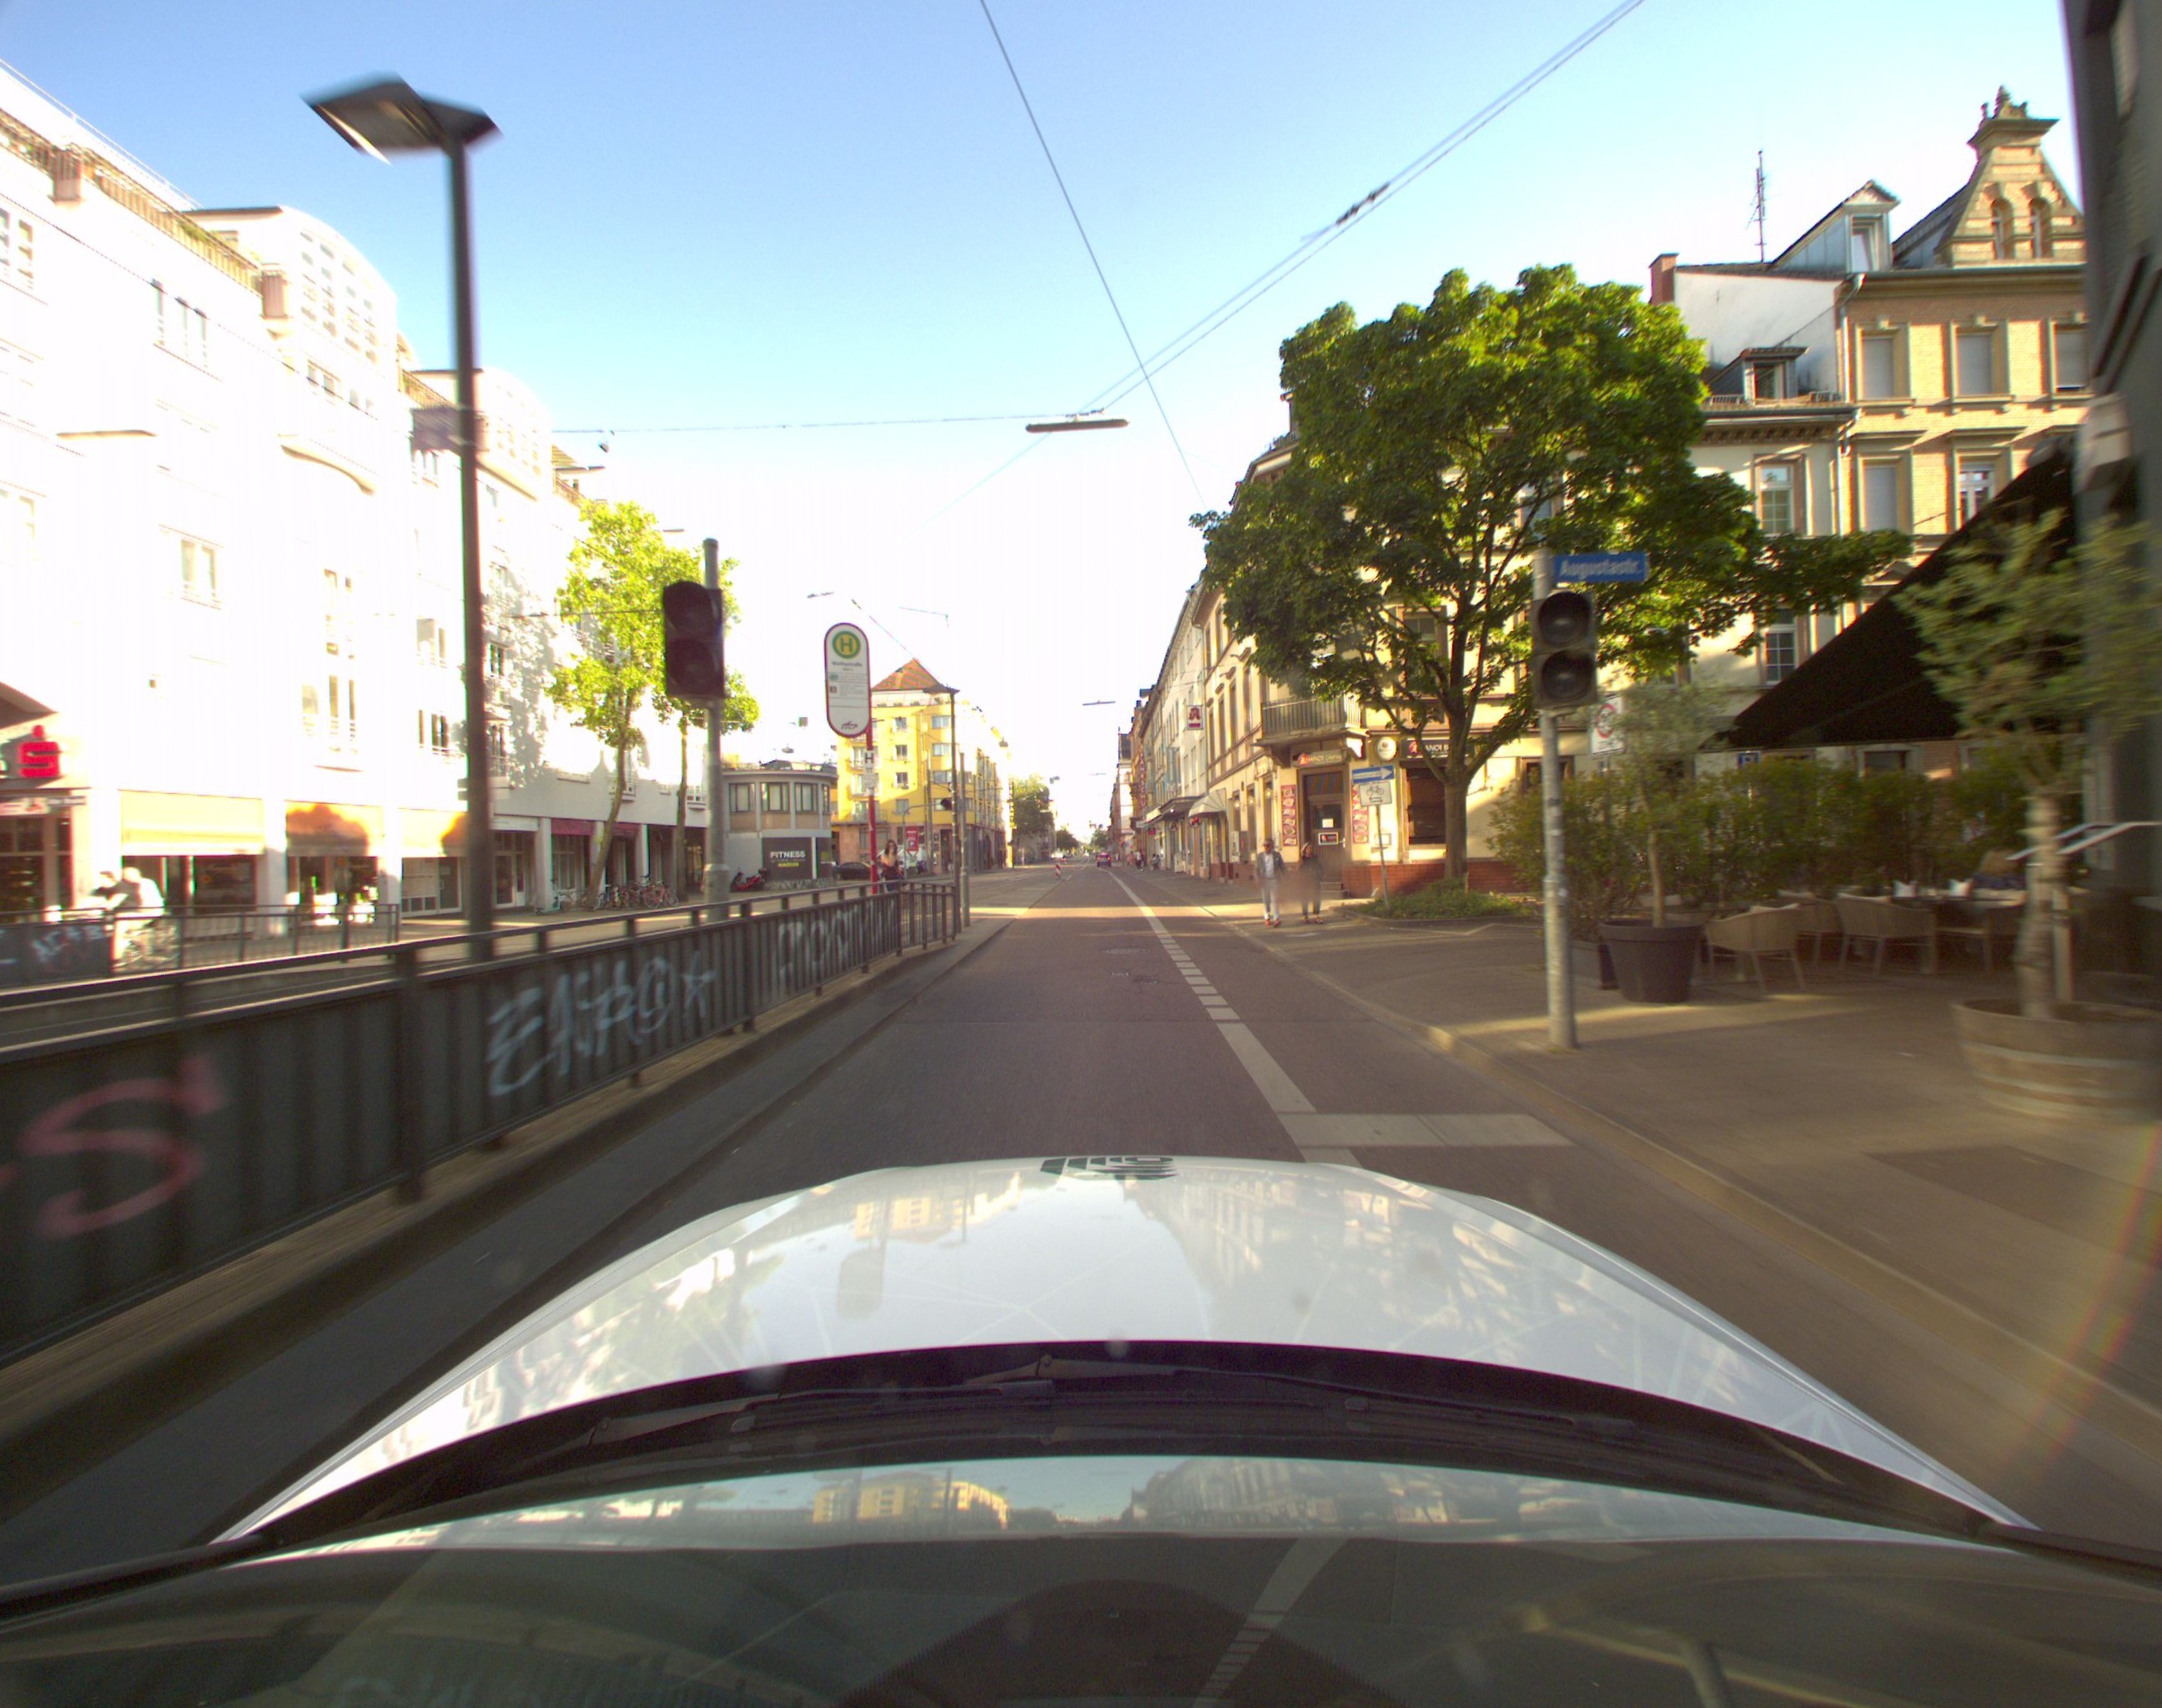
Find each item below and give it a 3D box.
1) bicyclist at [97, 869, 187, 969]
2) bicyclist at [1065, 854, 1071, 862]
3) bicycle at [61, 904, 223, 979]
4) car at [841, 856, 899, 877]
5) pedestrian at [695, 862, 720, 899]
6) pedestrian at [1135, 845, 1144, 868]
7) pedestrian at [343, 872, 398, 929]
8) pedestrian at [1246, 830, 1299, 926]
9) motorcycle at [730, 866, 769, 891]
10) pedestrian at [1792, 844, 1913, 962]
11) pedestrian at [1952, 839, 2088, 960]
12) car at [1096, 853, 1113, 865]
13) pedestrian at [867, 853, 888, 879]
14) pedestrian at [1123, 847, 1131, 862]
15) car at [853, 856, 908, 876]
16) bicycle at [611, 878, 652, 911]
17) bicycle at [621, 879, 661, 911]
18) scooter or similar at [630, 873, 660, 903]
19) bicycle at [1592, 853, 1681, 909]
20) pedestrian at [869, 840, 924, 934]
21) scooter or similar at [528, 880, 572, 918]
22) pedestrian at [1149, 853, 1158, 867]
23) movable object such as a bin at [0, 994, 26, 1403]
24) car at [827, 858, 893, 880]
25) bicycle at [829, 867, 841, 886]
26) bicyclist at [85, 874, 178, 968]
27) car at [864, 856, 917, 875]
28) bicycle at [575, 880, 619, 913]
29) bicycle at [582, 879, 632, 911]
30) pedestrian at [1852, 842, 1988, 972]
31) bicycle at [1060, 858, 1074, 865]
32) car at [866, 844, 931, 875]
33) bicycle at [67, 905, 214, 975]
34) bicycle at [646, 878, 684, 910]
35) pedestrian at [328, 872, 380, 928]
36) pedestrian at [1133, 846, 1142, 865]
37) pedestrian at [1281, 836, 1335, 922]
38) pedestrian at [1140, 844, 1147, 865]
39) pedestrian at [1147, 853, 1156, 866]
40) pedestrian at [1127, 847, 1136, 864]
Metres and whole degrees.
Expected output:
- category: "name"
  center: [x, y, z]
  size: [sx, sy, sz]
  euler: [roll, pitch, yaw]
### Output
- category: "bicyclist"
  center: [-17.976, 1.222, 15.612]
  size: [0.653, 1.835, 0.845]
  euler: [-2, 0, 1]
- category: "bicyclist"
  center: [-2.082, 0.647, 126.769]
  size: [0.704, 1.220, 0.758]
  euler: [-2, 0, 19]
- category: "bicycle"
  center: [-16.714, 1.520, 14.572]
  size: [0.726, 1.107, 1.801]
  euler: [-2, 0, 2]
- category: "car"
  center: [-16.386, 0.985, 63.466]
  size: [3.972, 1.510, 1.801]
  euler: [-1, 0, 1]
- category: "pedestrian"
  center: [-17.137, 1.207, 37.385]
  size: [1.018, 1.661, 0.914]
  euler: [1, 0, -24]
- category: "pedestrian"
  center: [4.789, 0.210, 66.482]
  size: [0.645, 1.796, 0.562]
  euler: [-2, 0, 5]
- category: "pedestrian"
  center: [-21.476, 1.401, 24.630]
  size: [0.856, 1.661, 0.879]
  euler: [1, 0, -2]
- category: "pedestrian"
  center: [3.726, 0.444, 15.927]
  size: [0.711, 1.774, 0.772]
  euler: [-5, 1, -2]
- category: "motorcycle"
  center: [-17.942, 1.321, 44.100]
  size: [1.791, 1.298, 0.605]
  euler: [1, 0, -5]
- category: "pedestrian"
  center: [8.271, 0.506, 8.757]
  size: [0.646, 1.203, 0.650]
  euler: [-2, 0, 1]
- category: "pedestrian"
  center: [9.843, 0.460, 8.561]
  size: [0.646, 1.203, 0.650]
  euler: [-2, 0, 1]
- category: "car"
  center: [2.920, 0.617, 101.480]
  size: [1.987, 1.449, 4.001]
  euler: [-1, 0, 1]
- category: "pedestrian"
  center: [-14.364, 0.858, 57.495]
  size: [1.159, 1.815, 0.900]
  euler: [-1, 0, -45]
- category: "pedestrian"
  center: [5.684, 0.066, 100.426]
  size: [0.840, 1.918, 0.847]
  euler: [-2, 0, -1]
- category: "car"
  center: [-16.230, 0.979, 66.046]
  size: [3.972, 1.510, 1.801]
  euler: [-1, 0, 1]
- category: "bicycle"
  center: [-17.098, 1.529, 31.015]
  size: [0.496, 1.107, 1.801]
  euler: [1, 1, 2]
- category: "bicycle"
  center: [-16.673, 1.536, 30.899]
  size: [0.496, 1.107, 1.801]
  euler: [1, 1, 2]
- category: "scooter or similar"
  center: [-18.131, 1.403, 33.881]
  size: [0.496, 1.193, 1.272]
  euler: [-2, 0, 2]
- category: "bicycle"
  center: [10.510, 0.507, 15.431]
  size: [1.309, 1.014, 0.461]
  euler: [-2, 1, 20]
- category: "pedestrian"
  center: [-3.421, 0.594, 15.150]
  size: [0.867, 1.714, 0.787]
  euler: [0, 1, -2]
- category: "scooter or similar"
  center: [-18.342, 1.538, 28.168]
  size: [0.495, 1.193, 1.276]
  euler: [1, 1, 13]
- category: "pedestrian"
  center: [5.788, 0.466, 65.371]
  size: [0.687, 1.043, 0.681]
  euler: [-2, 0, 5]
- category: "movable object such as a bin"
  center: [-2.705, 0.812, 1.674]
  size: [0.351, 0.944, 0.530]
  euler: [-2, 0, 0]
- category: "car"
  center: [-16.450, 1.116, 60.762]
  size: [4.303, 1.510, 1.801]
  euler: [-1, 0, 1]
- category: "bicycle"
  center: [-15.223, 1.376, 50.481]
  size: [0.499, 1.107, 1.793]
  euler: [-1, 0, -11]
- category: "bicyclist"
  center: [-16.736, 1.161, 14.369]
  size: [0.726, 1.568, 0.720]
  euler: [-2, 0, 1]
- category: "car"
  center: [-16.044, 0.971, 68.576]
  size: [3.972, 1.510, 1.801]
  euler: [-1, 0, 1]
- category: "bicycle"
  center: [-17.478, 1.536, 29.412]
  size: [0.494, 1.107, 1.280]
  euler: [1, 1, 28]
- category: "bicycle"
  center: [-17.799, 1.517, 30.601]
  size: [0.495, 1.107, 1.807]
  euler: [1, 1, 13]
- category: "pedestrian"
  center: [8.269, 0.501, 8.052]
  size: [0.646, 1.203, 0.650]
  euler: [-2, 0, 1]
- category: "bicycle"
  center: [-2.165, 1.102, 126.807]
  size: [1.918, 1.003, 0.758]
  euler: [-2, 0, 18]
- category: "car"
  center: [-15.936, 0.464, 71.156]
  size: [5.087, 2.575, 2.129]
  euler: [-1, 0, 1]
- category: "bicycle"
  center: [-17.959, 1.618, 15.623]
  size: [0.653, 1.107, 1.801]
  euler: [-2, 0, 2]
- category: "bicycle"
  center: [-16.189, 1.539, 31.765]
  size: [0.496, 1.107, 1.801]
  euler: [1, 1, 2]
- category: "pedestrian"
  center: [-22.402, 1.407, 25.108]
  size: [0.856, 1.661, 0.794]
  euler: [1, 0, -2]
- category: "pedestrian"
  center: [5.847, 0.123, 84.479]
  size: [0.846, 1.918, 1.034]
  euler: [-2, 0, -1]
- category: "pedestrian"
  center: [4.479, 0.481, 16.095]
  size: [0.711, 1.602, 0.772]
  euler: [-5, 1, -2]
- category: "pedestrian"
  center: [5.305, 0.049, 69.232]
  size: [0.557, 1.796, 0.652]
  euler: [-2, 0, 7]
- category: "pedestrian"
  center: [5.733, 0.471, 66.111]
  size: [0.687, 1.043, 0.681]
  euler: [-2, 0, 5]
- category: "pedestrian"
  center: [5.541, 0.156, 89.104]
  size: [0.840, 1.918, 0.661]
  euler: [-2, 0, -1]
